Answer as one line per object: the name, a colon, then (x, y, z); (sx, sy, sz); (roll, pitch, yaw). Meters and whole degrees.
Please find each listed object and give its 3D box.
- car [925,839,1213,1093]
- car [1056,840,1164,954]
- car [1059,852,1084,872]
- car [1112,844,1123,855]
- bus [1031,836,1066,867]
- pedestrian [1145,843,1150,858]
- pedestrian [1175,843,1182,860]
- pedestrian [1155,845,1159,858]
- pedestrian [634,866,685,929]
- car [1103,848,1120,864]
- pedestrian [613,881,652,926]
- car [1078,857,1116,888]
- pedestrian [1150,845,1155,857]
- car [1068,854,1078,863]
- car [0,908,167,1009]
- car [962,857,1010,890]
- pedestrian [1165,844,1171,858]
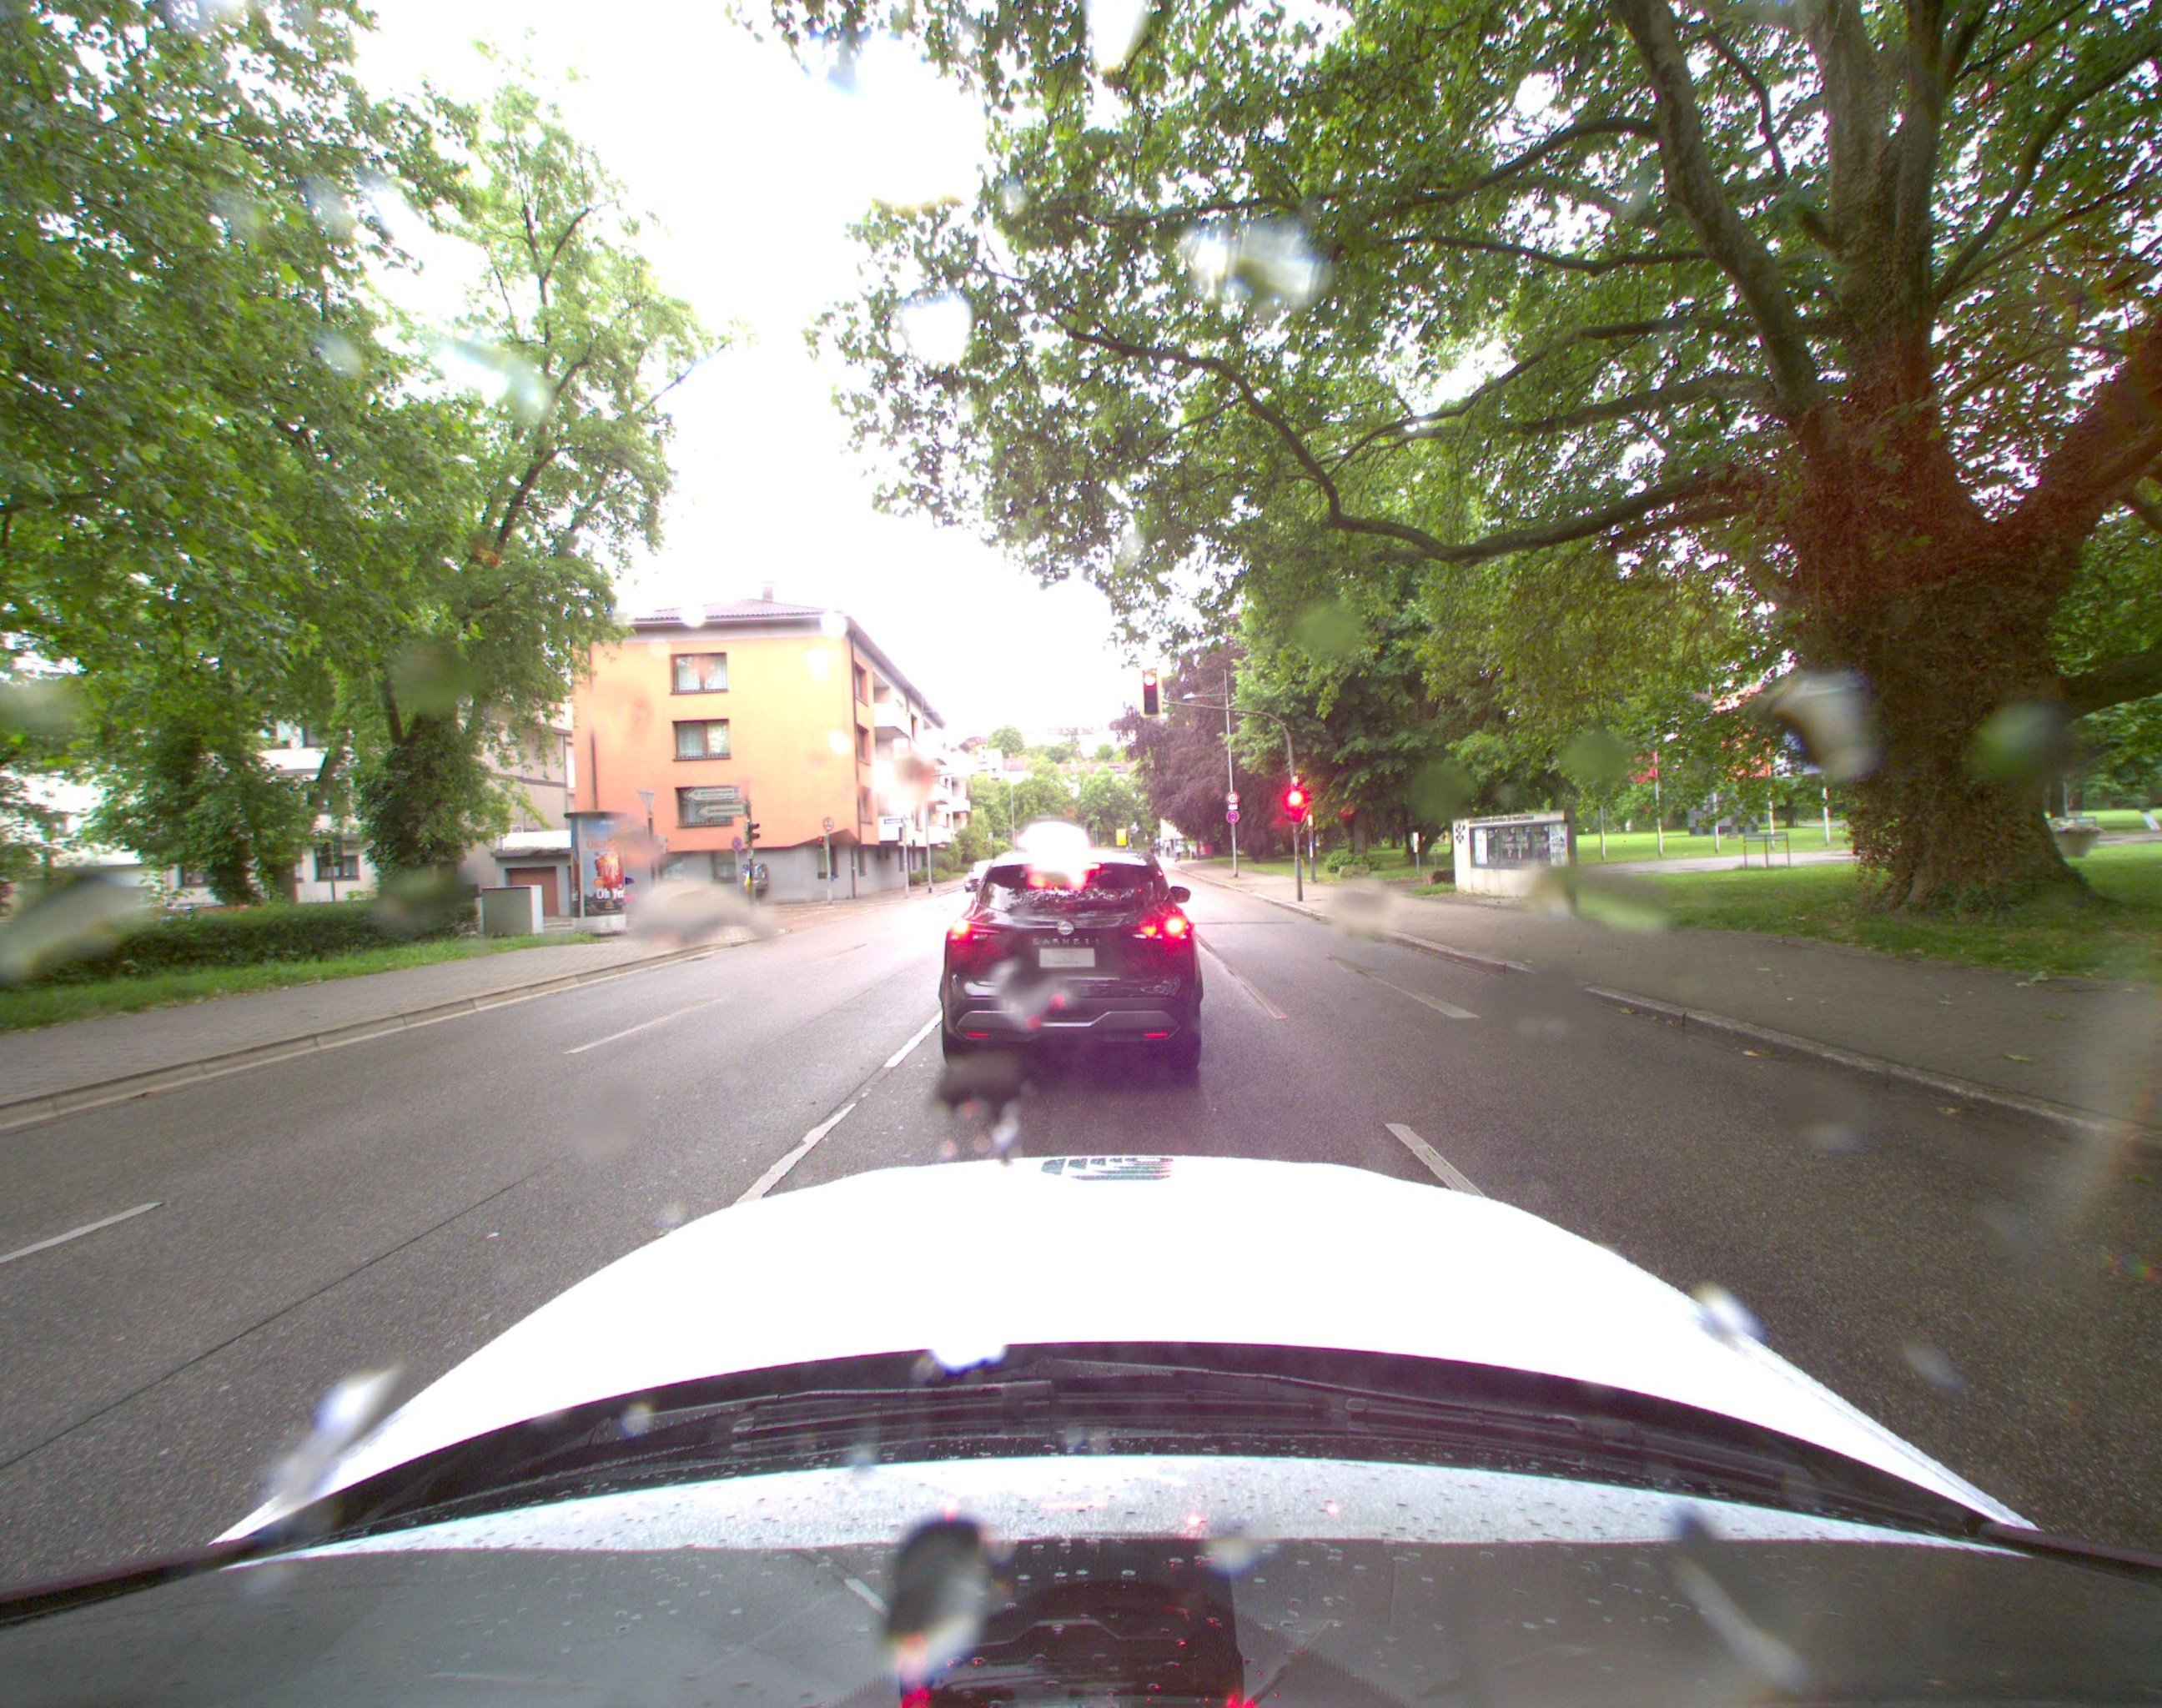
car: (-0.013, 0.720, 7.120); (1.799, 1.590, 4.001); (0, -1, 2)
car: (0.571, 0.672, 14.782); (1.615, 1.709, 3.774); (-3, 0, 3)
car: (-0.718, 0.576, 62.477); (1.618, 1.415, 3.456); (-3, 0, 2)
car: (6.153, -0.793, 136.531); (1.743, 1.633, 3.636); (-3, 0, 2)
bus: (-3.329, -0.210, 87.037); (2.756, 2.974, 11.786); (-3, 0, 2)
pedestrian: (9.660, -0.447, 118.329); (0.764, 2.183, 0.712); (0, -1, 5)
pedestrian: (10.173, -0.277, 85.034); (0.616, 1.779, 0.779); (-3, 0, 1)
pedestrian: (9.935, -0.325, 106.190); (0.513, 1.655, 0.550); (0, -1, 1)
pedestrian: (-12.337, 1.238, 23.826); (1.194, 1.742, 1.001); (-1, 0, 44)
car: (3.048, 0.206, 80.567); (1.618, 1.415, 3.456); (-3, 0, 2)
pedestrian: (-12.475, 1.364, 22.637); (0.816, 1.175, 0.690); (-1, 0, 40)
car: (0.802, 0.916, 41.301); (1.802, 1.417, 4.031); (-2, 0, 1)
pedestrian: (9.421, -0.399, 107.565); (0.542, 1.651, 0.490); (0, -1, 2)
car: (-1.382, 0.808, 143.972); (1.671, 1.469, 4.217); (-4, 0, 1)
car: (-17.999, 1.739, 13.818); (3.182, 1.524, 1.507); (0, -1, -1)
car: (-4.763, 0.966, 41.216); (1.802, 1.417, 4.031); (-4, 0, 1)
pedestrian: (11.142, -0.392, 104.336); (0.616, 1.779, 0.551); (-3, 0, 1)
